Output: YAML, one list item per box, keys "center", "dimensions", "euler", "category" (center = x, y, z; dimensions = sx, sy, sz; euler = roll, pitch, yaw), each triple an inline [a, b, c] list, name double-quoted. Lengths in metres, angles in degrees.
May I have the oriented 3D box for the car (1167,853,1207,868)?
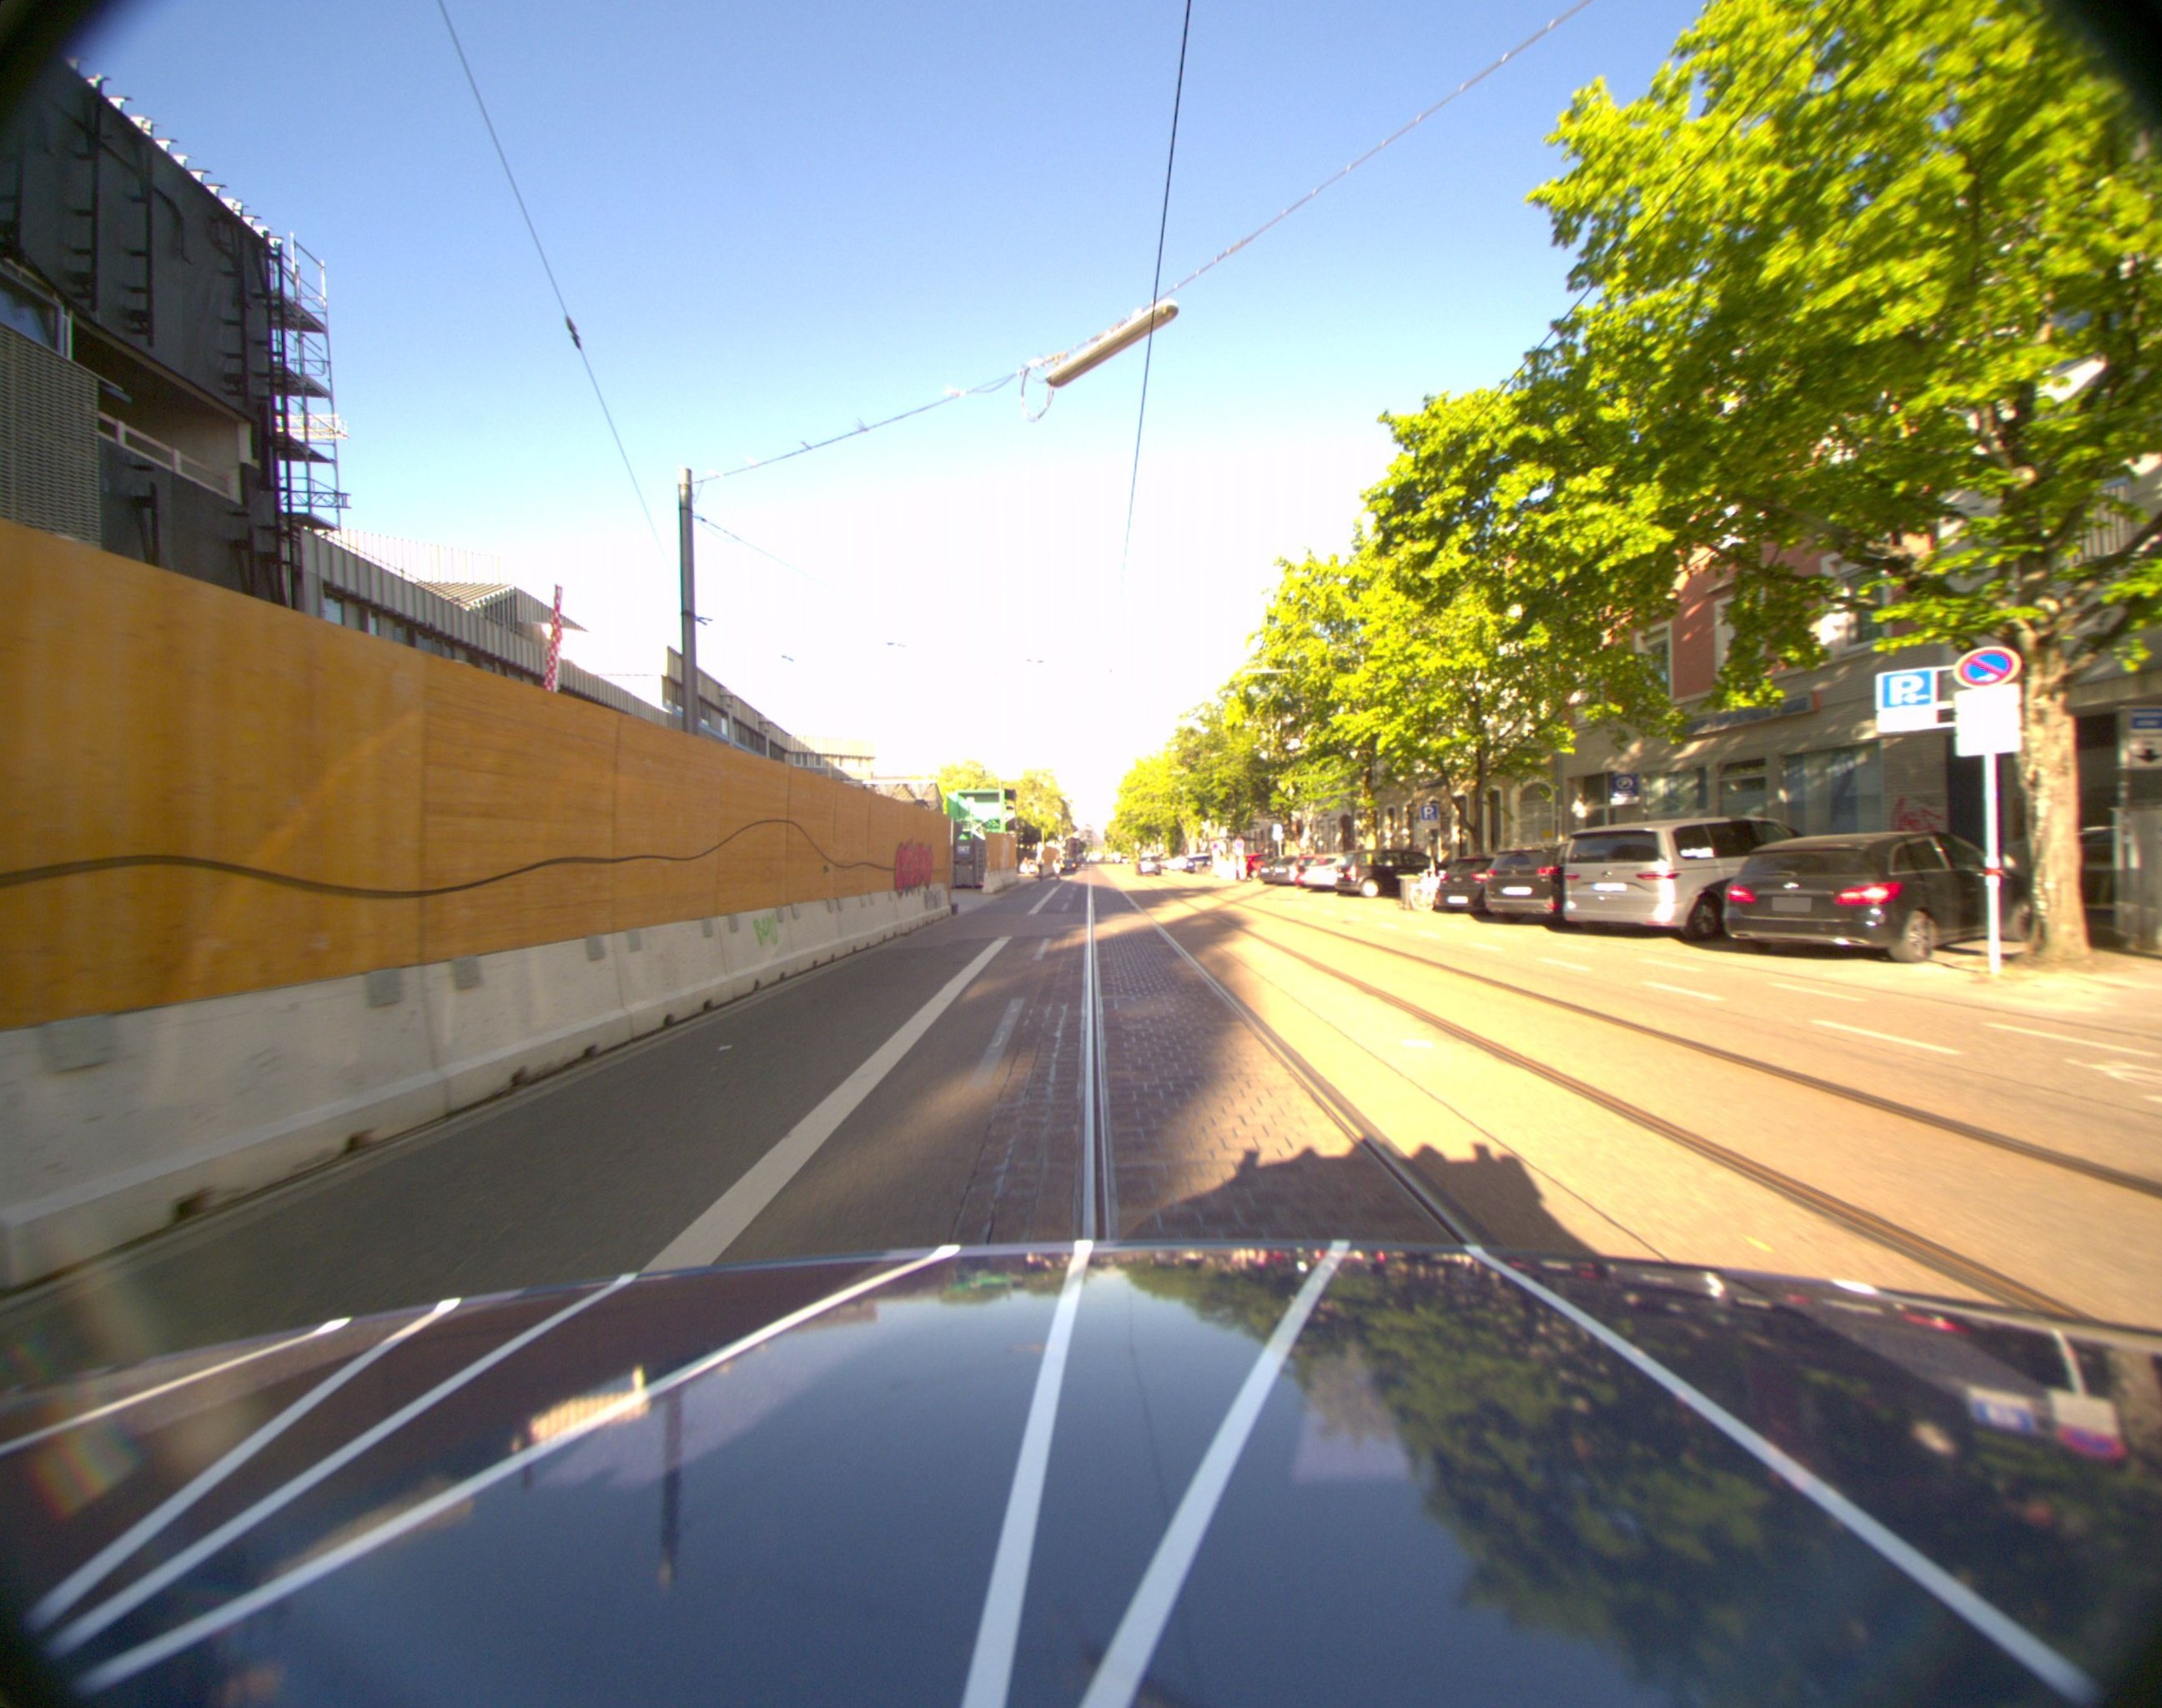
- center: [11.210, 0.694, 80.482]
  dimensions: [3.651, 1.520, 1.883]
  euler: [-1, 0, -19]
  category: "car"

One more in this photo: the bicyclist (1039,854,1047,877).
- center: [-2.644, 0.815, 53.069]
  dimensions: [0.557, 1.603, 0.576]
  euler: [0, 0, -1]
  category: "bicyclist"

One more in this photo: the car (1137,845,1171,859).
- center: [11.663, -0.308, 120.993]
  dimensions: [4.943, 2.002, 2.072]
  euler: [-1, 0, -15]
  category: "car"

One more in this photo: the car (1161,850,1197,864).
- center: [11.973, 0.385, 93.307]
  dimensions: [4.003, 1.667, 1.700]
  euler: [-2, 0, -19]
  category: "car"

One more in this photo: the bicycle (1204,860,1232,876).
- center: [10.520, 1.093, 58.374]
  dimensions: [1.972, 1.073, 0.568]
  euler: [-4, 0, 3]
  category: "bicycle"

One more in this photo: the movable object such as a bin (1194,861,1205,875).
- center: [9.426, 1.105, 60.593]
  dimensions: [0.685, 1.071, 0.710]
  euler: [-4, 0, 2]
  category: "movable object such as a bin"

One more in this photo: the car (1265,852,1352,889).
- center: [10.689, 0.755, 35.733]
  dimensions: [3.689, 1.462, 1.749]
  euler: [-3, 1, -28]
  category: "car"

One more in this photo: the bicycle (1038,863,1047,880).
- center: [-2.643, 1.190, 52.716]
  dimensions: [0.558, 1.120, 2.275]
  euler: [0, 0, -2]
  category: "bicycle"

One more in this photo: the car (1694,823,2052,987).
- center: [10.673, 0.558, 10.244]
  dimensions: [4.300, 1.657, 1.908]
  euler: [-4, 1, -23]
  category: "car"

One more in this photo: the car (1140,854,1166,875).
- center: [5.754, 0.829, 61.148]
  dimensions: [1.932, 1.620, 4.249]
  euler: [-1, 0, 3]
  category: "car"

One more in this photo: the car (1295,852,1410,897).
- center: [10.690, 0.770, 29.901]
  dimensions: [4.122, 1.503, 1.837]
  euler: [-3, 0, -25]
  category: "car"

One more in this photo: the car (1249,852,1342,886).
- center: [10.822, 0.737, 38.315]
  dimensions: [4.208, 1.482, 1.940]
  euler: [-3, 0, -26]
  category: "car"

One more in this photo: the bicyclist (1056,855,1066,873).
- center: [-1.387, 0.661, 52.210]
  dimensions: [0.653, 1.230, 0.353]
  euler: [0, 0, -1]
  category: "bicyclist"

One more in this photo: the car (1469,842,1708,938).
- center: [10.160, 0.642, 15.241]
  dimensions: [4.253, 1.675, 1.808]
  euler: [-1, 0, -20]
  category: "car"

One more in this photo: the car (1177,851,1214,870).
- center: [11.326, 0.622, 75.192]
  dimensions: [3.452, 1.832, 1.729]
  euler: [-1, 0, -39]
  category: "car"

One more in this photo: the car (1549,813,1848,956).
- center: [10.431, 0.423, 12.868]
  dimensions: [4.372, 1.975, 1.946]
  euler: [-3, 1, -21]
  category: "car"

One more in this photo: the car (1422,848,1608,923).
- center: [10.509, 0.717, 18.438]
  dimensions: [3.872, 1.468, 1.840]
  euler: [-3, 1, -21]
  category: "car"

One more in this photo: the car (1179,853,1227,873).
- center: [10.646, 0.789, 66.289]
  dimensions: [3.908, 1.599, 1.570]
  euler: [-1, 0, -29]
  category: "car"

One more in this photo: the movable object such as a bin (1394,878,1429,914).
- center: [8.821, 1.123, 20.287]
  dimensions: [0.577, 0.908, 0.575]
  euler: [-3, 0, -15]
  category: "movable object such as a bin"

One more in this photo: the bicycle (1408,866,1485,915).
- center: [9.583, 0.942, 19.913]
  dimensions: [1.973, 1.138, 0.492]
  euler: [-3, 1, -17]
  category: "bicycle"

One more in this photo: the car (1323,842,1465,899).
- center: [10.845, 0.559, 26.500]
  dimensions: [4.115, 1.668, 1.841]
  euler: [-4, 0, -1]
  category: "car"

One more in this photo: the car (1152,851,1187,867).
- center: [12.268, 0.655, 105.270]
  dimensions: [4.448, 2.105, 2.163]
  euler: [-2, 0, -1]
  category: "car"

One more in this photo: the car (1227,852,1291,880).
- center: [11.222, 0.734, 47.888]
  dimensions: [3.629, 1.544, 1.666]
  euler: [-3, -1, -25]
  category: "car"

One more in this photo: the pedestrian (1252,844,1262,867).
- center: [14.170, 0.089, 61.082]
  dimensions: [0.645, 1.827, 0.624]
  euler: [-1, 0, 2]
  category: "pedestrian"

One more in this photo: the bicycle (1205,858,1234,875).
- center: [10.400, 0.914, 57.047]
  dimensions: [2.007, 1.081, 0.567]
  euler: [-5, 0, 3]
  category: "bicycle"

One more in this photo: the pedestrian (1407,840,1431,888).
- center: [14.411, 0.427, 32.392]
  dimensions: [0.733, 2.002, 0.556]
  euler: [-1, 0, 2]
  category: "pedestrian"

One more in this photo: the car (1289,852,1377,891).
- center: [10.867, 0.745, 32.777]
  dimensions: [3.378, 1.484, 1.610]
  euler: [-3, 0, -27]
  category: "car"

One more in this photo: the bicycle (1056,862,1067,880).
- center: [-1.332, 1.149, 52.389]
  dimensions: [0.669, 1.148, 2.276]
  euler: [-2, 0, 1]
  category: "bicycle"
